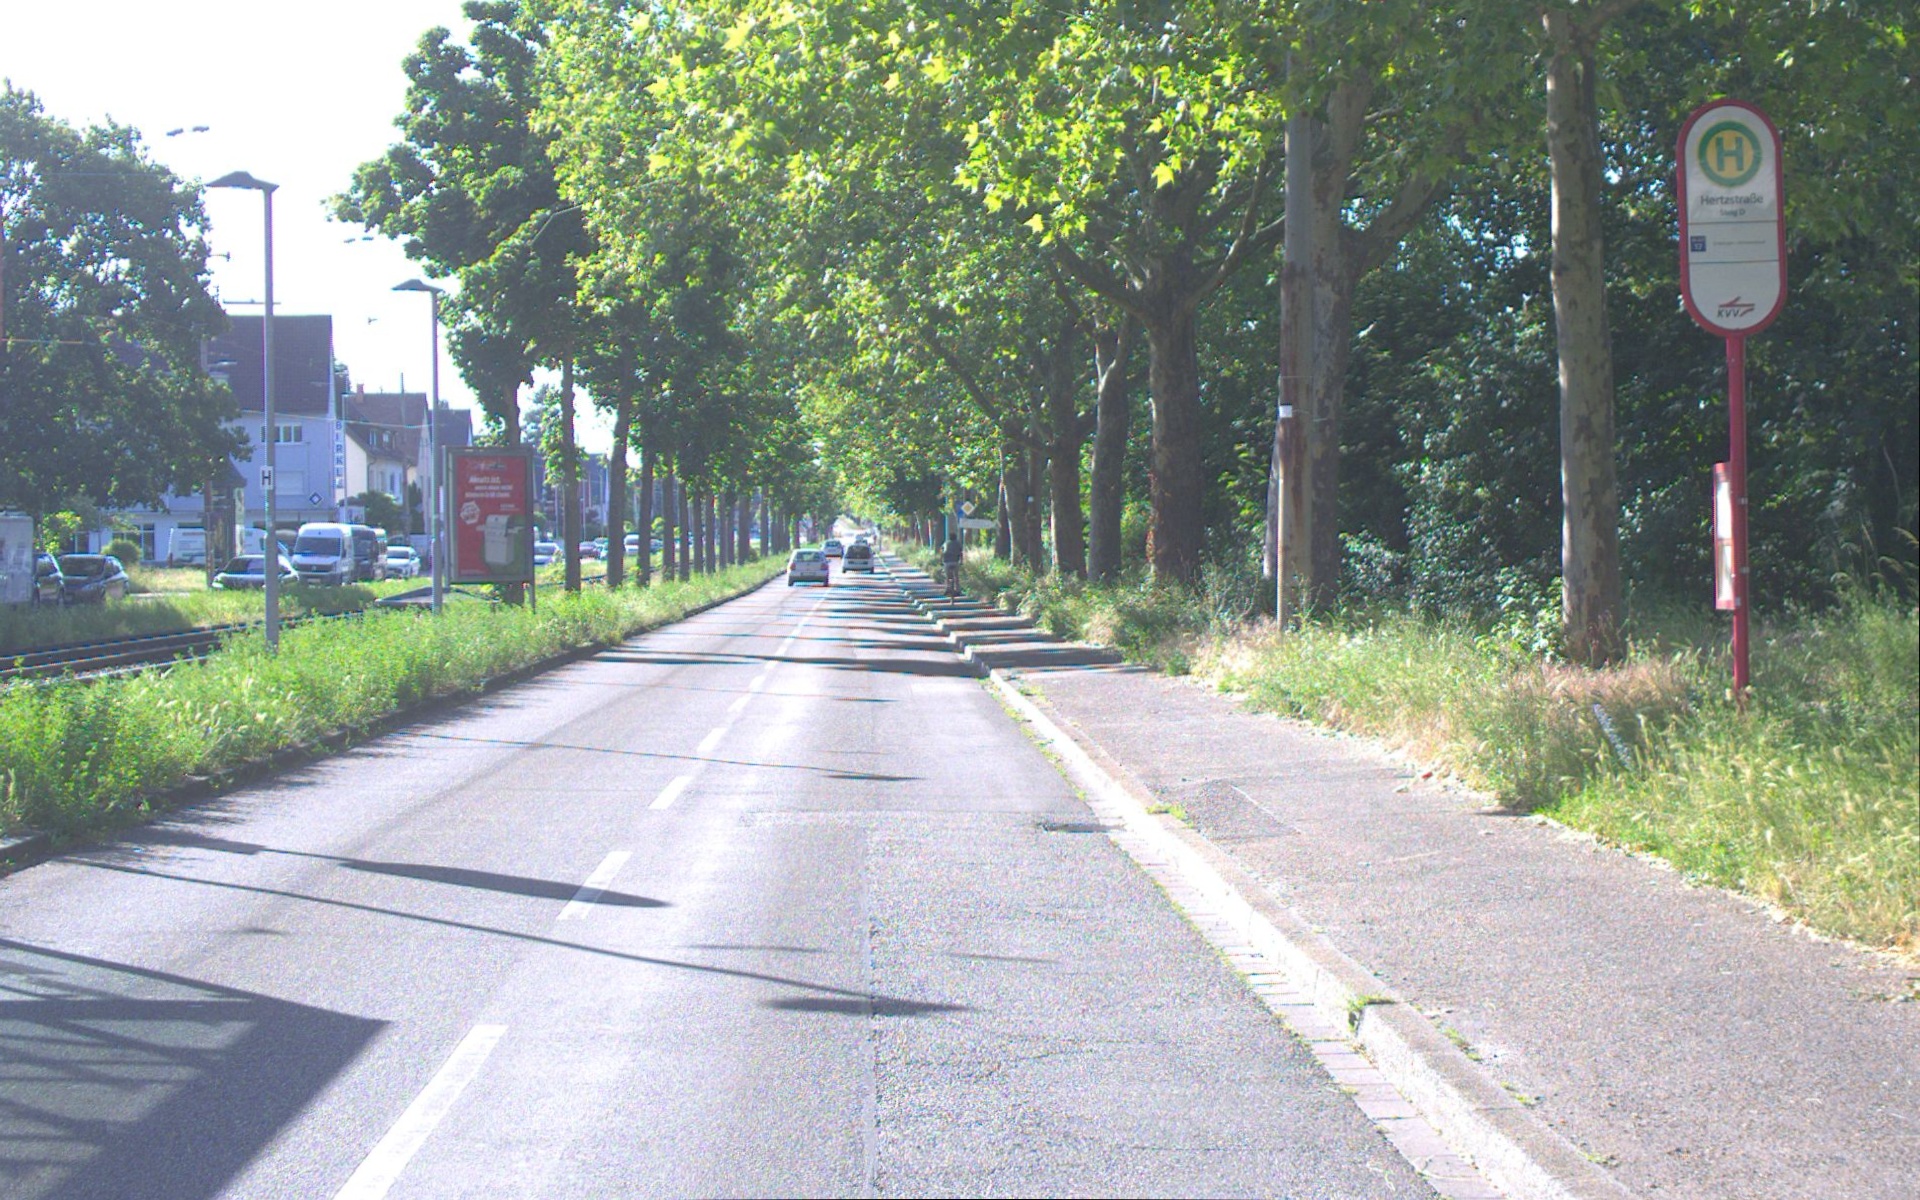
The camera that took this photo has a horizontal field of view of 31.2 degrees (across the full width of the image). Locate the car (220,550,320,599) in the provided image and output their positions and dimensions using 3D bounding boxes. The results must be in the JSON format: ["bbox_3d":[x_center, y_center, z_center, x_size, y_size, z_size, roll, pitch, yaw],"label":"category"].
[{"bbox_3d":[-18.952,-0.722,94.578,1.920,1.262,4.000,-1,1,0],"label":"car"}]

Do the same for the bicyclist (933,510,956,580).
[{"bbox_3d":[-0.396,-1.412,87.622,0.534,1.763,0.713,-1,1,-3],"label":"bicyclist"}]

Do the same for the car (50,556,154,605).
[{"bbox_3d":[-23.524,-0.554,94.339,1.920,1.262,4.000,-1,1,-1],"label":"car"}]

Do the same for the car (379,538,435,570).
[{"bbox_3d":[-25.476,-2.136,158.414,1.920,1.433,4.000,-1,1,0],"label":"car"}]

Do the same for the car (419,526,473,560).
[{"bbox_3d":[-25.709,-2.854,172.121,1.993,1.637,4.000,-1,1,1],"label":"car"}]

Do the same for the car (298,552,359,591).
[{"bbox_3d":[-25.036,-1.152,136.468,1.744,1.491,3.592,-1,1,0],"label":"car"}]

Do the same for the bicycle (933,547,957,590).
[{"bbox_3d":[-0.382,-0.810,87.592,0.536,1.062,1.434,-1,1,-3],"label":"bicycle"}]

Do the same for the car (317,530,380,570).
[{"bbox_3d":[-25.677,-2.126,144.574,1.920,1.622,4.000,-1,1,0],"label":"car"}]

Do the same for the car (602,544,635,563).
[{"bbox_3d":[-22.960,-3.116,231.074,1.920,1.262,4.001,-1,1,-2],"label":"car"}]

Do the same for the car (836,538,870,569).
[{"bbox_3d":[-5.566,-2.438,179.568,1.750,1.599,3.750,0,1,-1],"label":"car"}]

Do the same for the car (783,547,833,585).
[{"bbox_3d":[-5.973,-1.336,135.302,1.867,1.481,3.556,0,1,-1],"label":"car"}]

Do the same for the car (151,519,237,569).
[{"bbox_3d":[-25.148,-1.839,112.935,1.920,1.571,4.000,-1,1,0],"label":"car"}]

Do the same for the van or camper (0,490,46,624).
[{"bbox_3d":[-23.531,-0.997,80.428,2.589,3.095,6.789,-1,1,-2],"label":"van or camper"}]
